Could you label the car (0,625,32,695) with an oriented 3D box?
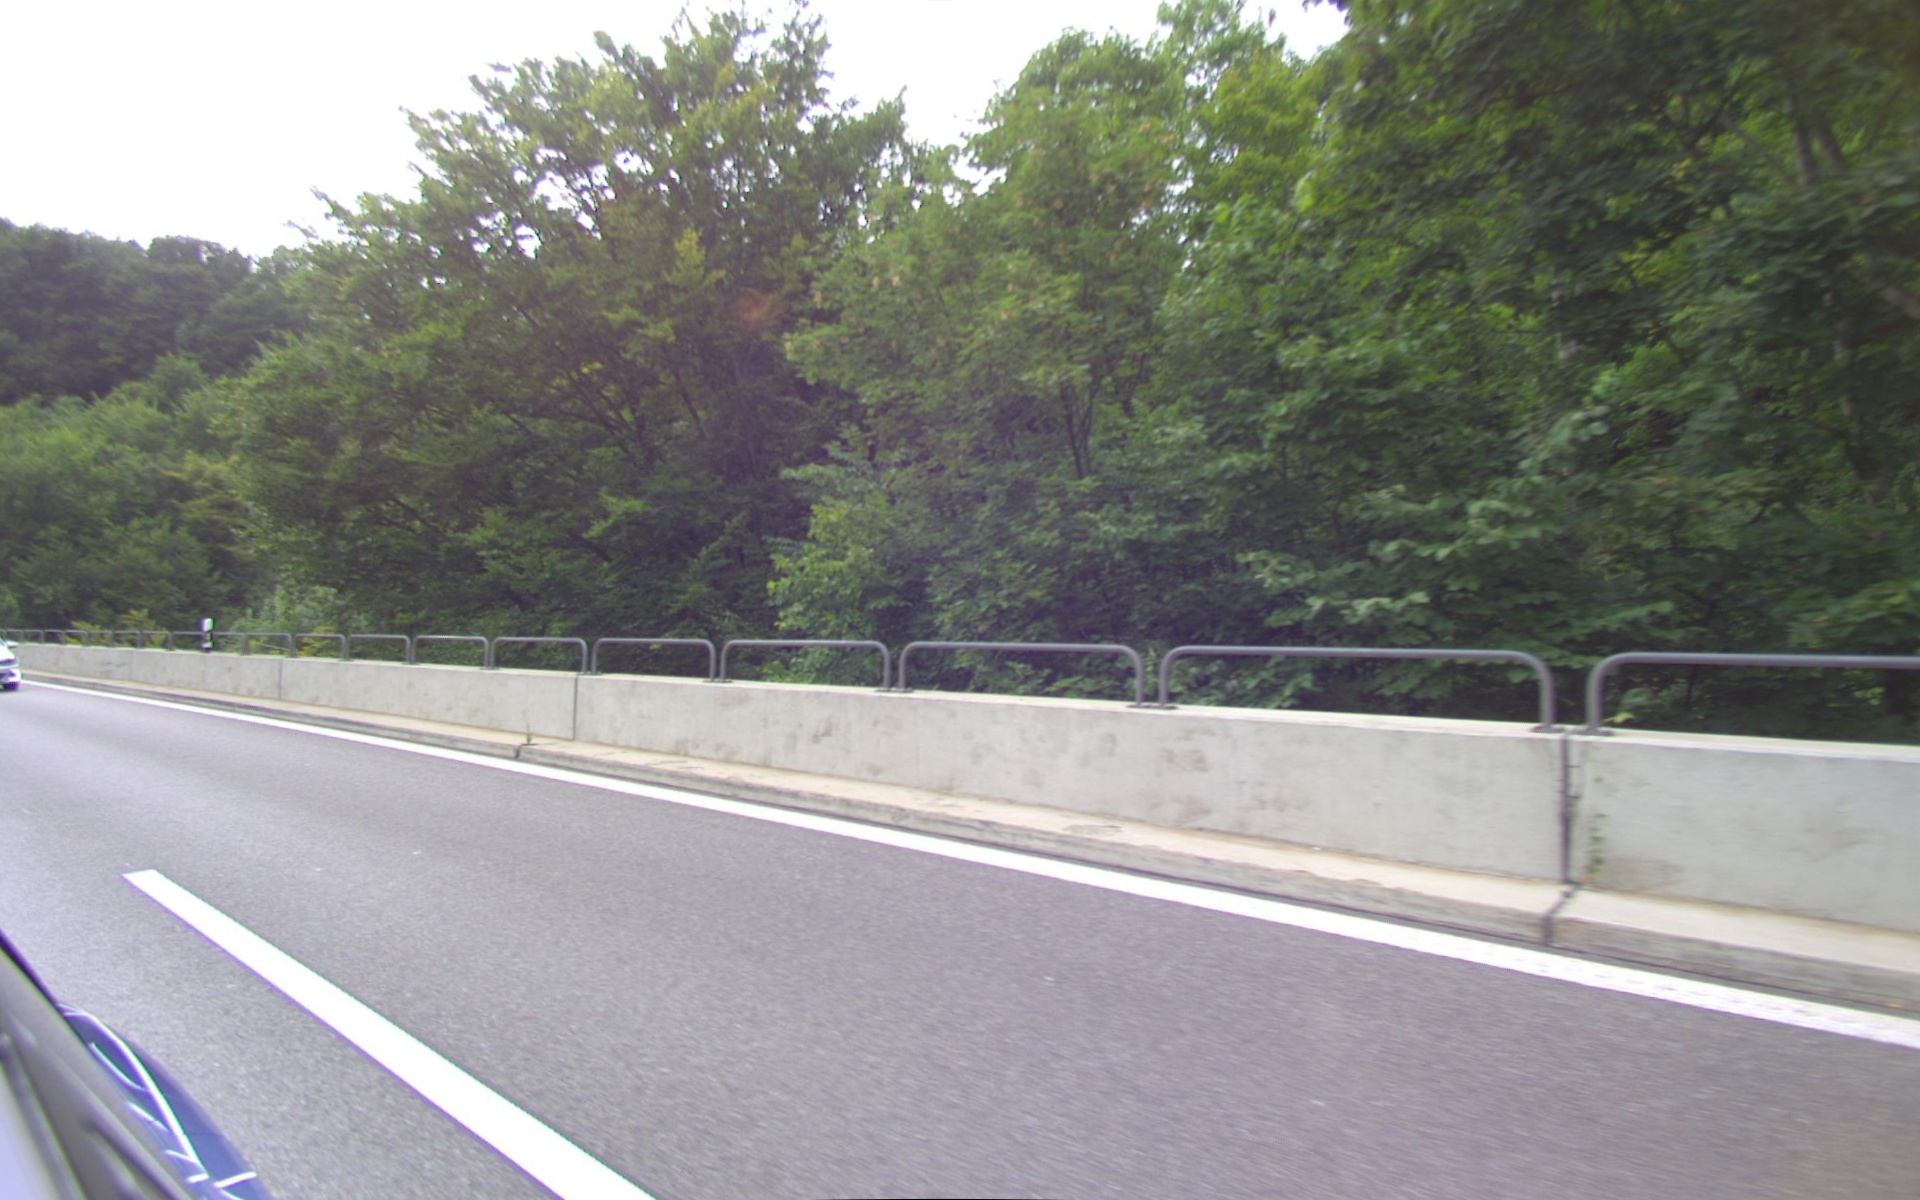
[{"bbox_3d":[-22.436,1.320,22.526,4.224,1.472,1.900,-1,-1,37],"label":"car"}]
